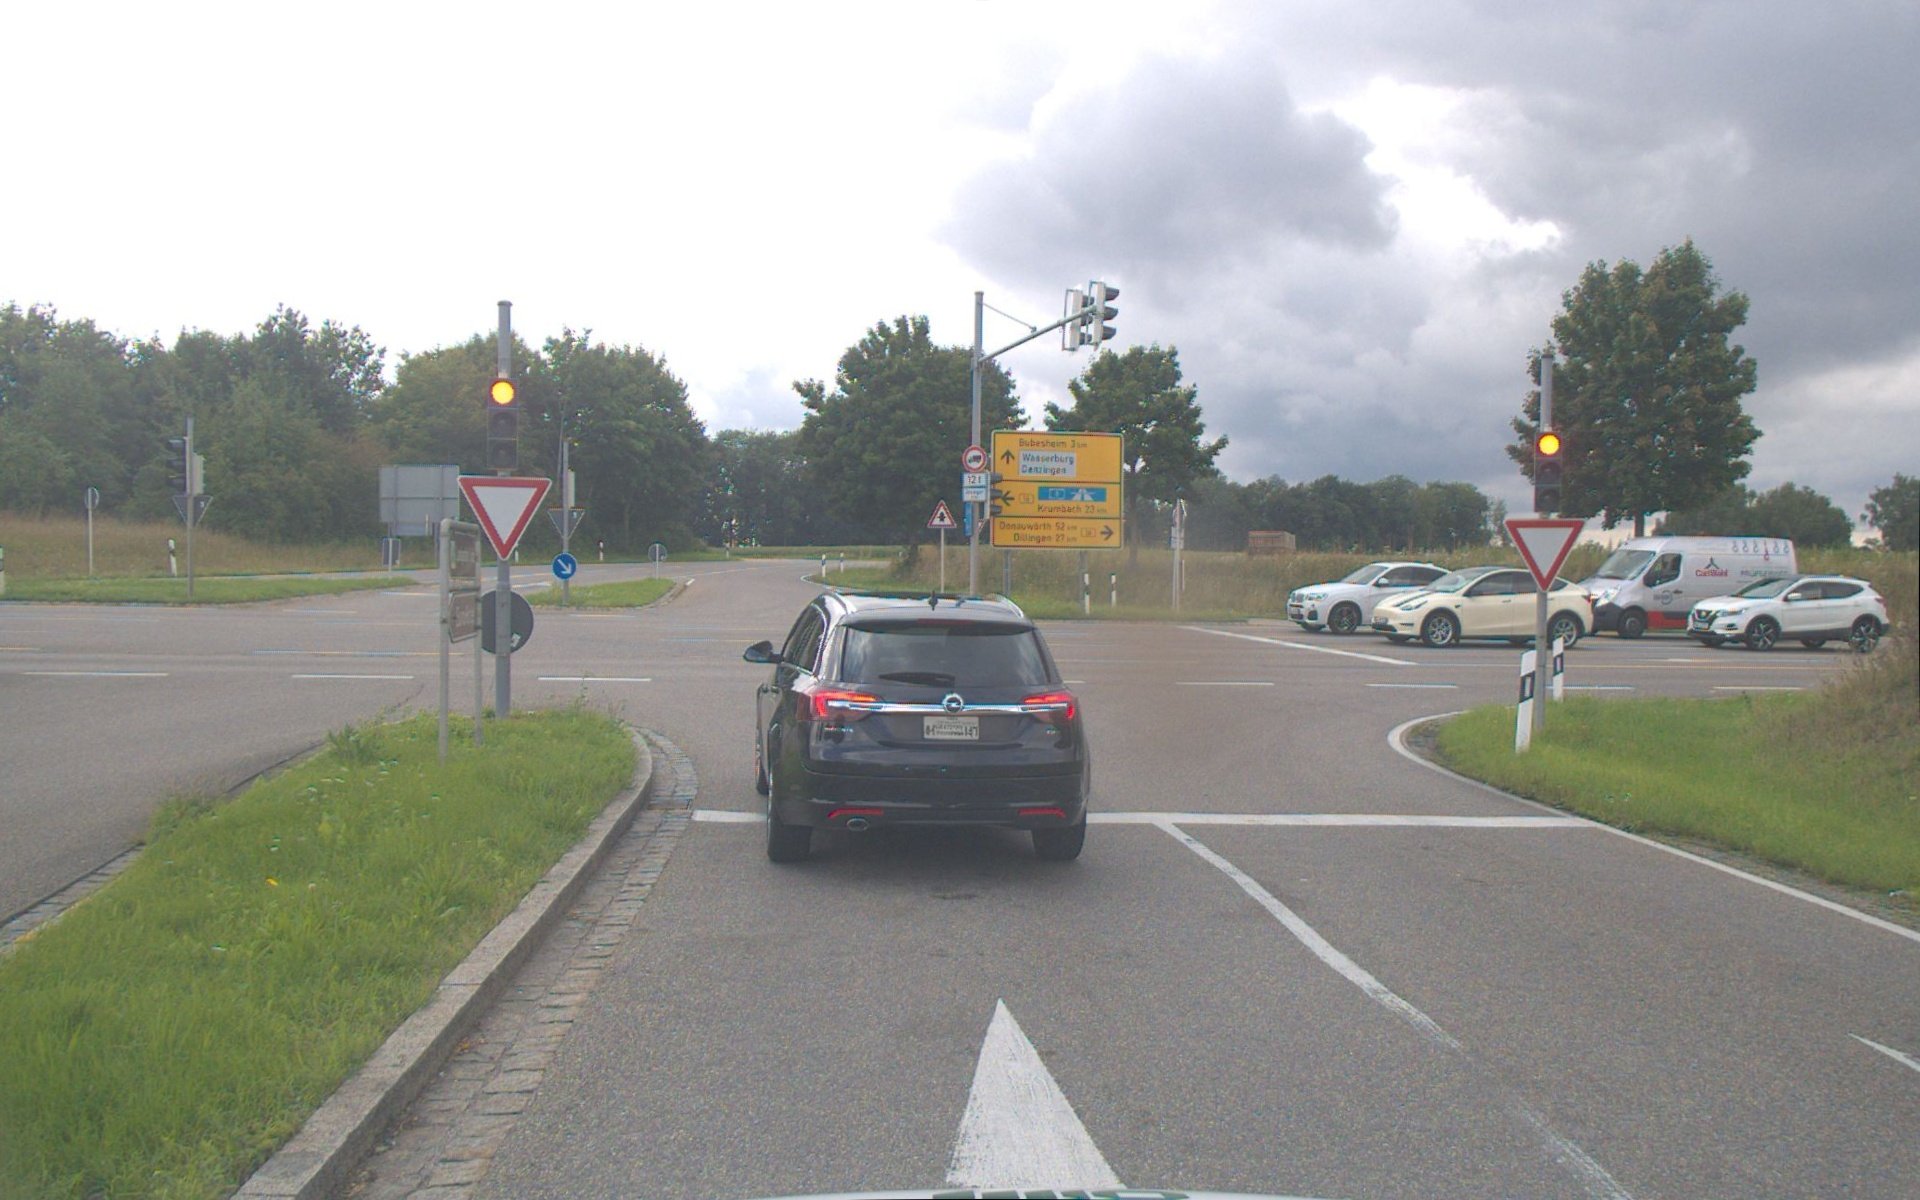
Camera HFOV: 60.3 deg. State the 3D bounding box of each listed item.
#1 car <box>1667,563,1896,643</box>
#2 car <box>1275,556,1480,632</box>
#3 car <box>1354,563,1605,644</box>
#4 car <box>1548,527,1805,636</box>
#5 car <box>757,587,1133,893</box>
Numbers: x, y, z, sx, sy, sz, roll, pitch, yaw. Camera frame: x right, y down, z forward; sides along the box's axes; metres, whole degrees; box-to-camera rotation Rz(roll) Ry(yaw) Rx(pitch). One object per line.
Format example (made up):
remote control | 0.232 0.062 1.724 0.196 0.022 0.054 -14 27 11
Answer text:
car | 18.114 0.071 36.522 4.234 1.658 1.994 1 0 -13
car | 9.645 -0.138 38.323 4.188 1.657 1.993 1 0 -14
car | 10.839 0.068 34.589 4.651 1.592 1.994 1 0 -13
car | 17.511 -0.440 40.527 5.398 2.484 2.391 1 0 -12
car | -0.319 0.684 10.347 1.774 1.476 4.265 1 1 -8
